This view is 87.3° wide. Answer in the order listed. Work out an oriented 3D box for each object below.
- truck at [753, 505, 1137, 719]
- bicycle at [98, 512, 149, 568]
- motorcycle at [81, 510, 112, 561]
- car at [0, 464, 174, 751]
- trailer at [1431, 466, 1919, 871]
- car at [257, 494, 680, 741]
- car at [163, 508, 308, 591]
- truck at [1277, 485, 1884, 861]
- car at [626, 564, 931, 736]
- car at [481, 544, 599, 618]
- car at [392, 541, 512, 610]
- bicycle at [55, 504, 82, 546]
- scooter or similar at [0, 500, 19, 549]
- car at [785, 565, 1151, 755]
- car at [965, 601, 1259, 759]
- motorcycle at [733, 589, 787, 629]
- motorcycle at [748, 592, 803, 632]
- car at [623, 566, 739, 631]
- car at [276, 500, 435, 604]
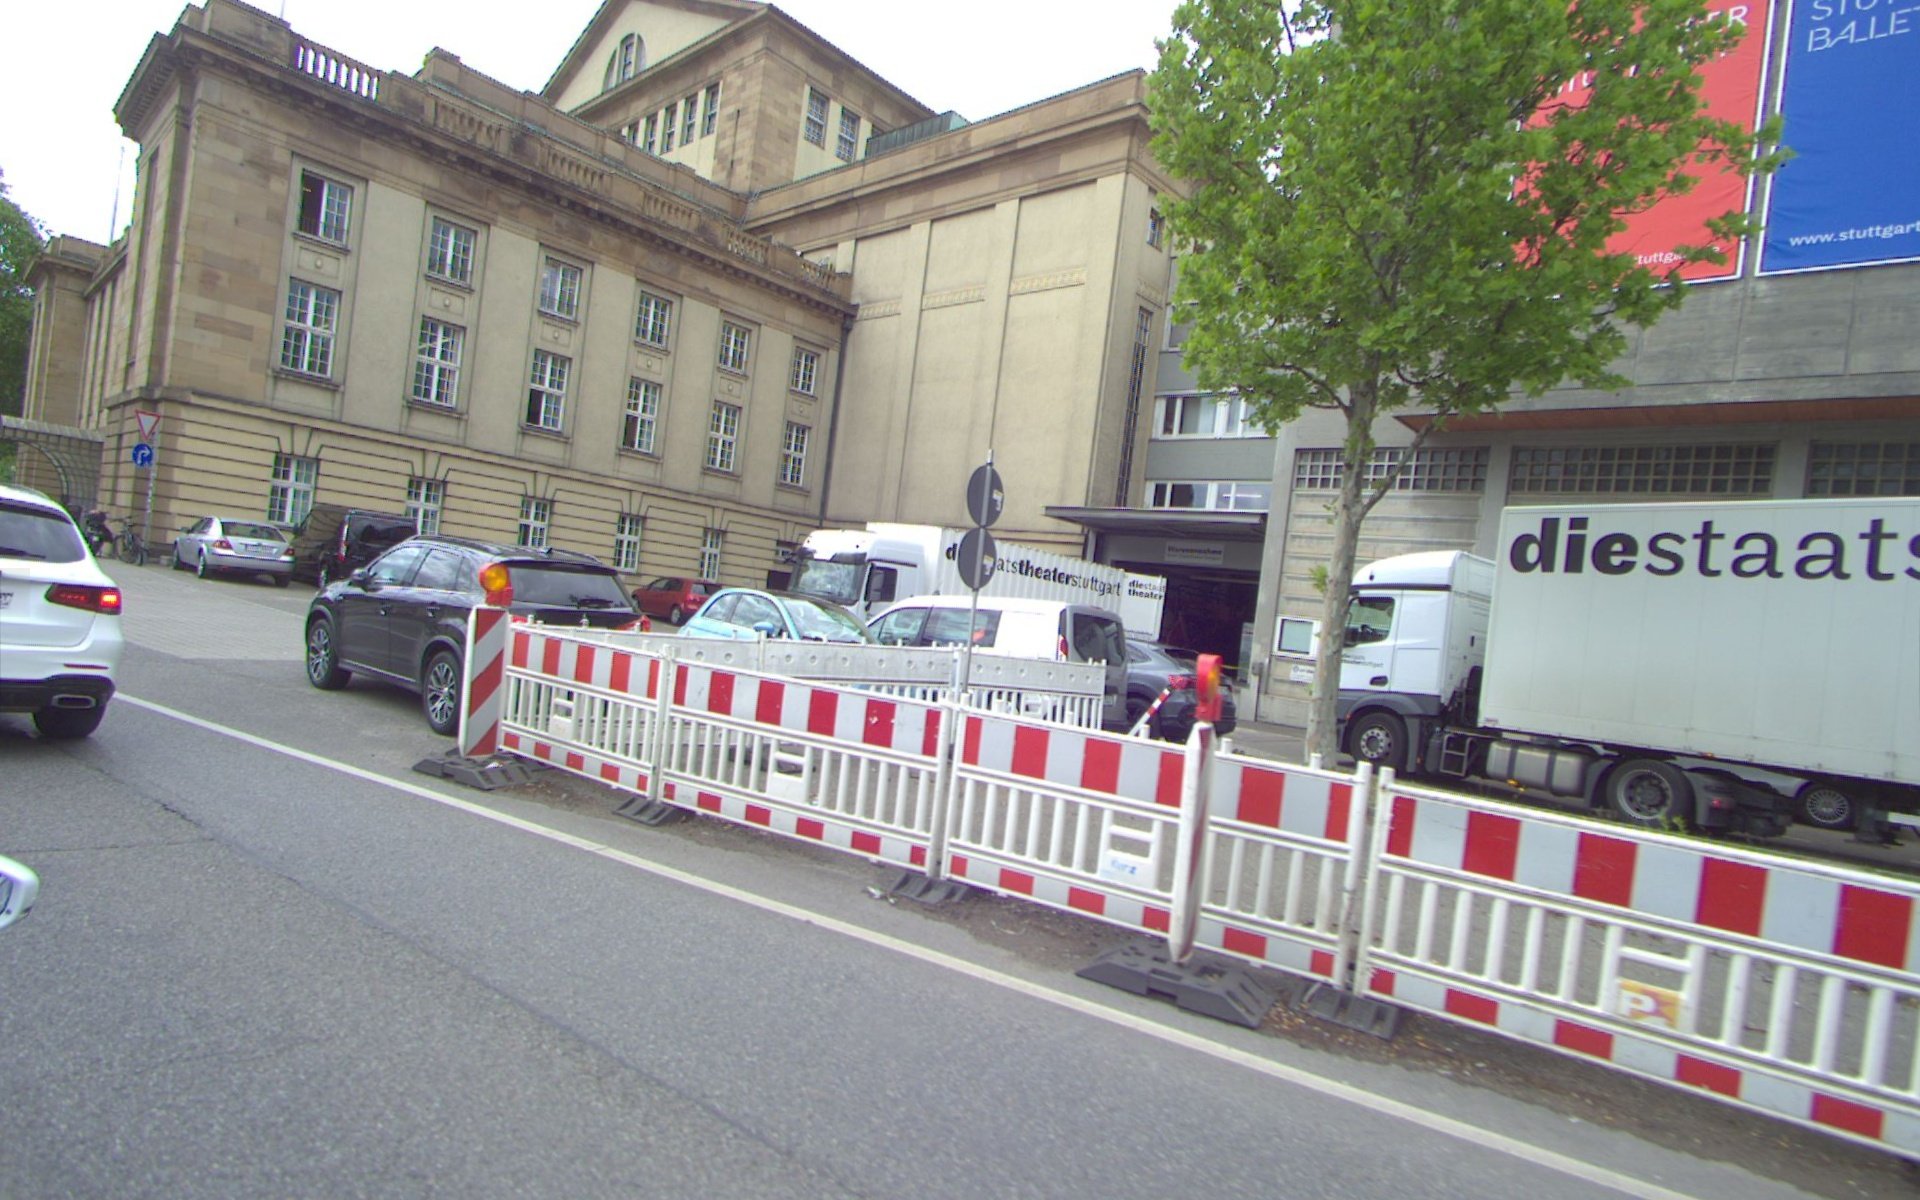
[{"bbox_3d":[0.167,0.600,24.994,2.958,4.257,10.336,7,0,42],"label":"truck"},{"bbox_3d":[-20.704,-1.485,24.886,1.934,1.241,0.608,7,3,40],"label":"bicycle"},{"bbox_3d":[-23.245,-1.746,27.057,0.453,1.258,1.899,5,1,-44],"label":"motorcycle"},{"bbox_3d":[-7.423,-0.168,6.831,4.364,1.643,1.792,6,-2,32],"label":"car"},{"bbox_3d":[12.386,1.007,9.709,3.138,4.146,13.818,10,-3,-40],"label":"trailer"},{"bbox_3d":[-4.950,0.091,9.850,4.418,1.758,1.805,7,-1,38],"label":"car"},{"bbox_3d":[-17.503,-1.243,24.227,4.511,1.486,1.777,7,-1,42],"label":"car"},{"bbox_3d":[8.514,0.806,14.508,3.121,4.132,6.500,8,-2,-40],"label":"truck"},{"bbox_3d":[-2.229,0.547,11.907,3.454,1.548,1.579,6,-2,41],"label":"car"},{"bbox_3d":[-12.311,-0.571,29.431,3.566,1.689,1.641,7,-1,42],"label":"car"},{"bbox_3d":[-14.004,-0.689,27.671,3.566,1.429,1.641,7,-1,42],"label":"car"},{"bbox_3d":[-29.998,-2.534,33.854,1.766,1.304,0.411,6,0,43],"label":"bicycle"},{"bbox_3d":[-26.714,-2.123,27.774,1.344,1.268,0.452,5,0,22],"label":"scooter or similar"},{"bbox_3d":[-0.031,0.720,13.321,4.556,1.803,1.806,6,-4,41],"label":"car"},{"bbox_3d":[2.124,1.108,14.571,3.708,1.708,1.714,6,-2,41],"label":"car"},{"bbox_3d":[-6.917,0.330,34.843,0.463,1.118,1.786,7,-3,43],"label":"motorcycle"},{"bbox_3d":[-6.223,0.417,34.037,0.463,1.104,1.786,7,-3,43],"label":"motorcycle"},{"bbox_3d":[-9.000,-0.061,32.313,3.864,1.552,1.641,7,-1,42],"label":"car"},{"bbox_3d":[-15.555,-1.281,25.782,4.847,2.093,1.946,7,-1,42],"label":"car"}]
